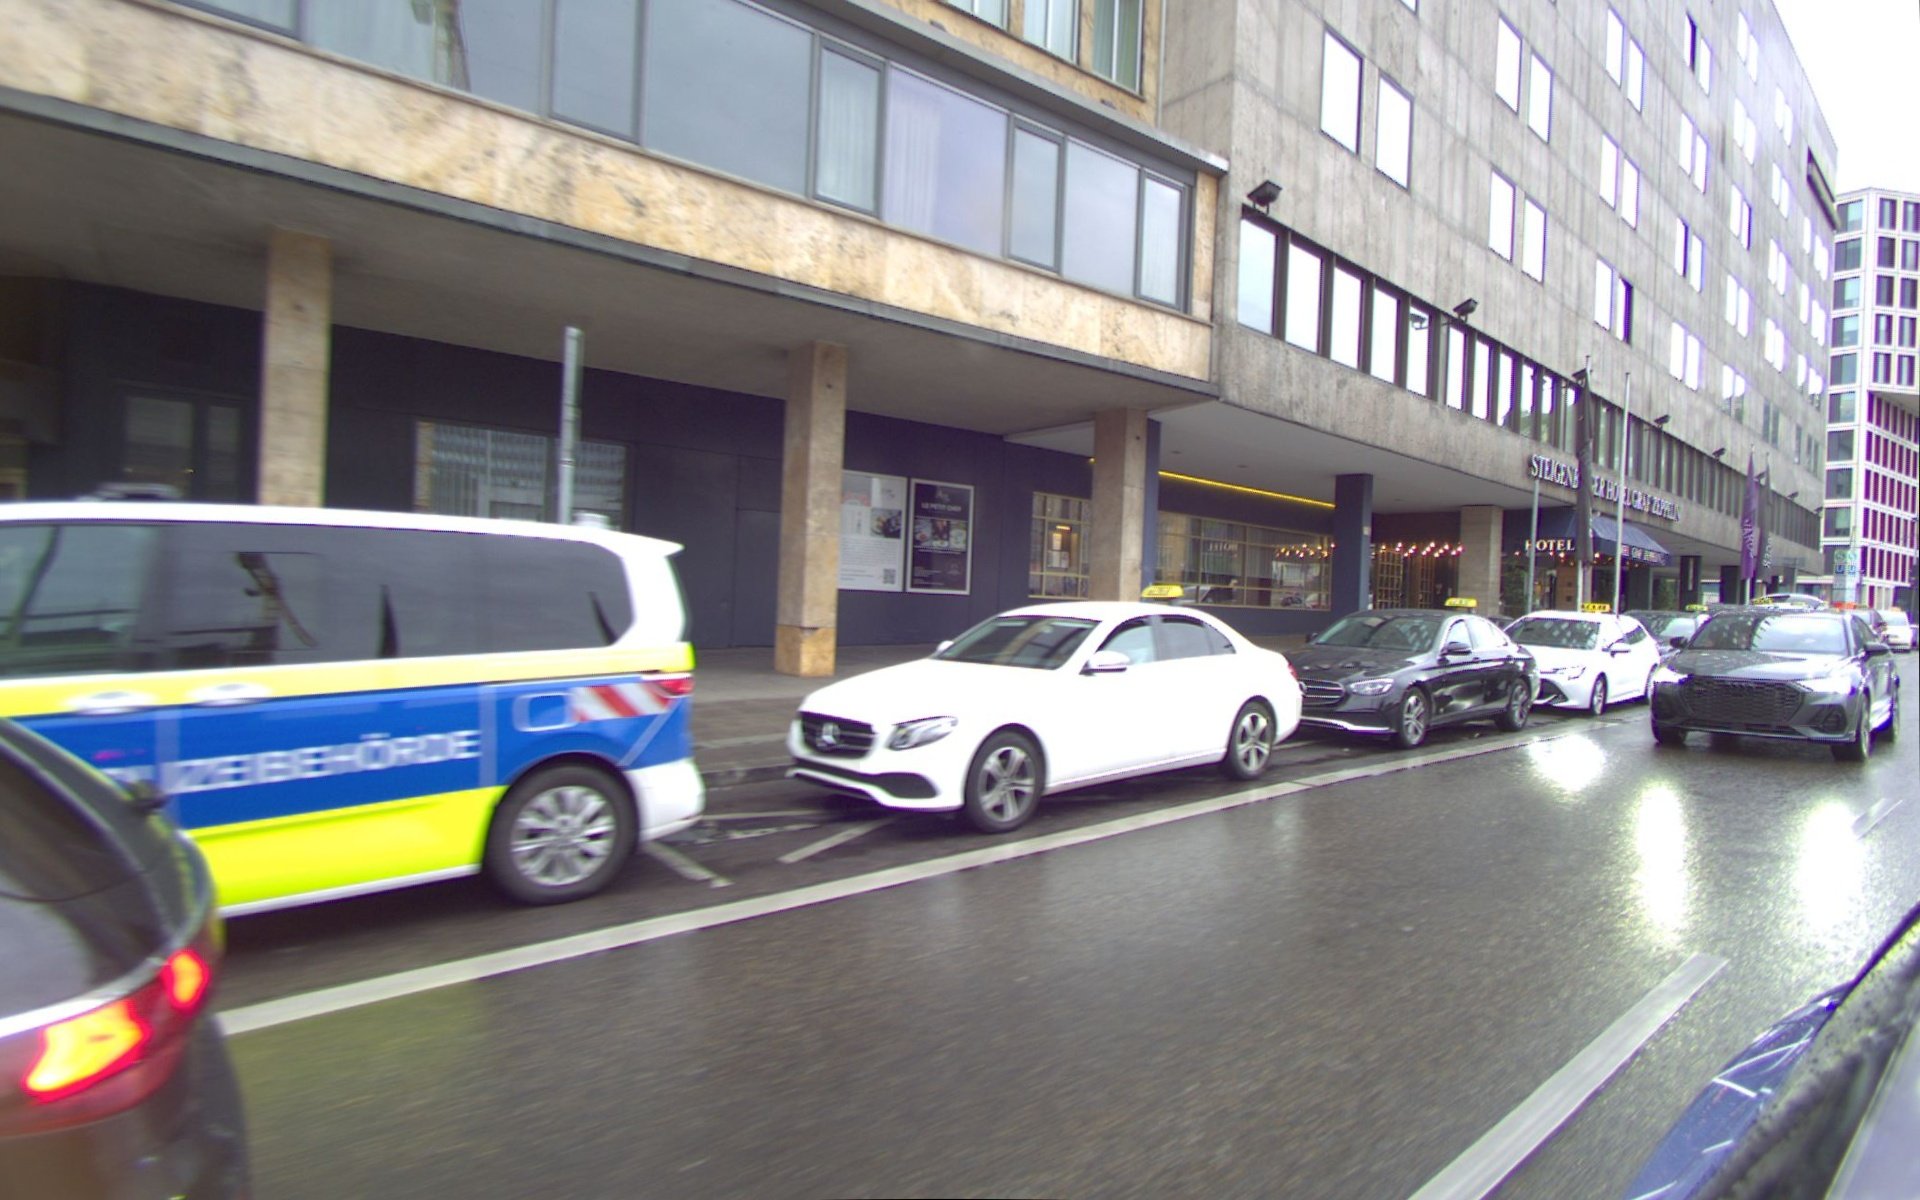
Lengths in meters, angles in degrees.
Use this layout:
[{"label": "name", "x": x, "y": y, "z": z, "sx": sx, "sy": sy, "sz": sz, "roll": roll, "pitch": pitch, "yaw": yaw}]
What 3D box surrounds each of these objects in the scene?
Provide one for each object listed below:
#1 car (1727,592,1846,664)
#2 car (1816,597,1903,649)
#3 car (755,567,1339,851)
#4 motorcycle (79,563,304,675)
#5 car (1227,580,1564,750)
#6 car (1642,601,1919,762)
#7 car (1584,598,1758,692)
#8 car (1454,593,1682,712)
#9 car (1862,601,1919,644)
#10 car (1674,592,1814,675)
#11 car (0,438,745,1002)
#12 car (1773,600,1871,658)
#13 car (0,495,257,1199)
[{"label": "car", "x": 22.261, "y": 0.691, "z": 27.191, "sx": 4.730, "sy": 1.765, "sz": 1.729, "roll": 0, "pitch": 0, "yaw": -41}, {"label": "car", "x": 30.247, "y": 0.734, "z": 34.006, "sx": 3.931, "sy": 1.634, "sz": 1.729, "roll": 0, "pitch": 0, "yaw": -41}, {"label": "car", "x": 0.972, "y": 0.627, "z": 8.251, "sx": 4.924, "sy": 1.658, "sz": 1.878, "roll": 0, "pitch": 0, "yaw": -41}, {"label": "motorcycle", "x": -8.960, "y": 0.207, "z": 11.914, "sx": 2.063, "sy": 1.233, "sz": 0.569, "roll": 0, "pitch": 0, "yaw": -33}, {"label": "car", "x": 5.358, "y": 0.622, "z": 12.131, "sx": 4.730, "sy": 1.658, "sz": 1.878, "roll": 0, "pitch": 0, "yaw": -41}, {"label": "car", "x": 9.741, "y": 0.780, "z": 11.815, "sx": 4.266, "sy": 1.520, "sz": 1.882, "roll": 0, "pitch": 0, "yaw": -40}, {"label": "car", "x": 13.939, "y": 0.778, "z": 19.731, "sx": 4.730, "sy": 1.612, "sz": 1.729, "roll": 0, "pitch": 0, "yaw": -41}, {"label": "car", "x": 9.674, "y": 0.705, "z": 15.930, "sx": 4.730, "sy": 1.612, "sz": 1.729, "roll": 0, "pitch": 0, "yaw": -41}, {"label": "car", "x": 37.800, "y": 0.858, "z": 40.774, "sx": 3.931, "sy": 1.634, "sz": 1.729, "roll": 0, "pitch": 0, "yaw": -41}, {"label": "car", "x": 18.469, "y": 0.696, "z": 23.767, "sx": 4.730, "sy": 1.765, "sz": 1.729, "roll": 0, "pitch": 0, "yaw": -41}, {"label": "car", "x": -3.576, "y": 0.405, "z": 4.503, "sx": 4.849, "sy": 1.944, "sz": 1.878, "roll": 0, "pitch": 0, "yaw": -41}, {"label": "car", "x": 26.276, "y": 0.839, "z": 30.817, "sx": 3.931, "sy": 1.634, "sz": 1.729, "roll": 0, "pitch": 0, "yaw": -41}, {"label": "car", "x": -3.134, "y": 0.647, "z": 0.399, "sx": 4.547, "sy": 1.520, "sz": 1.796, "roll": 0, "pitch": 0, "yaw": -41}]
